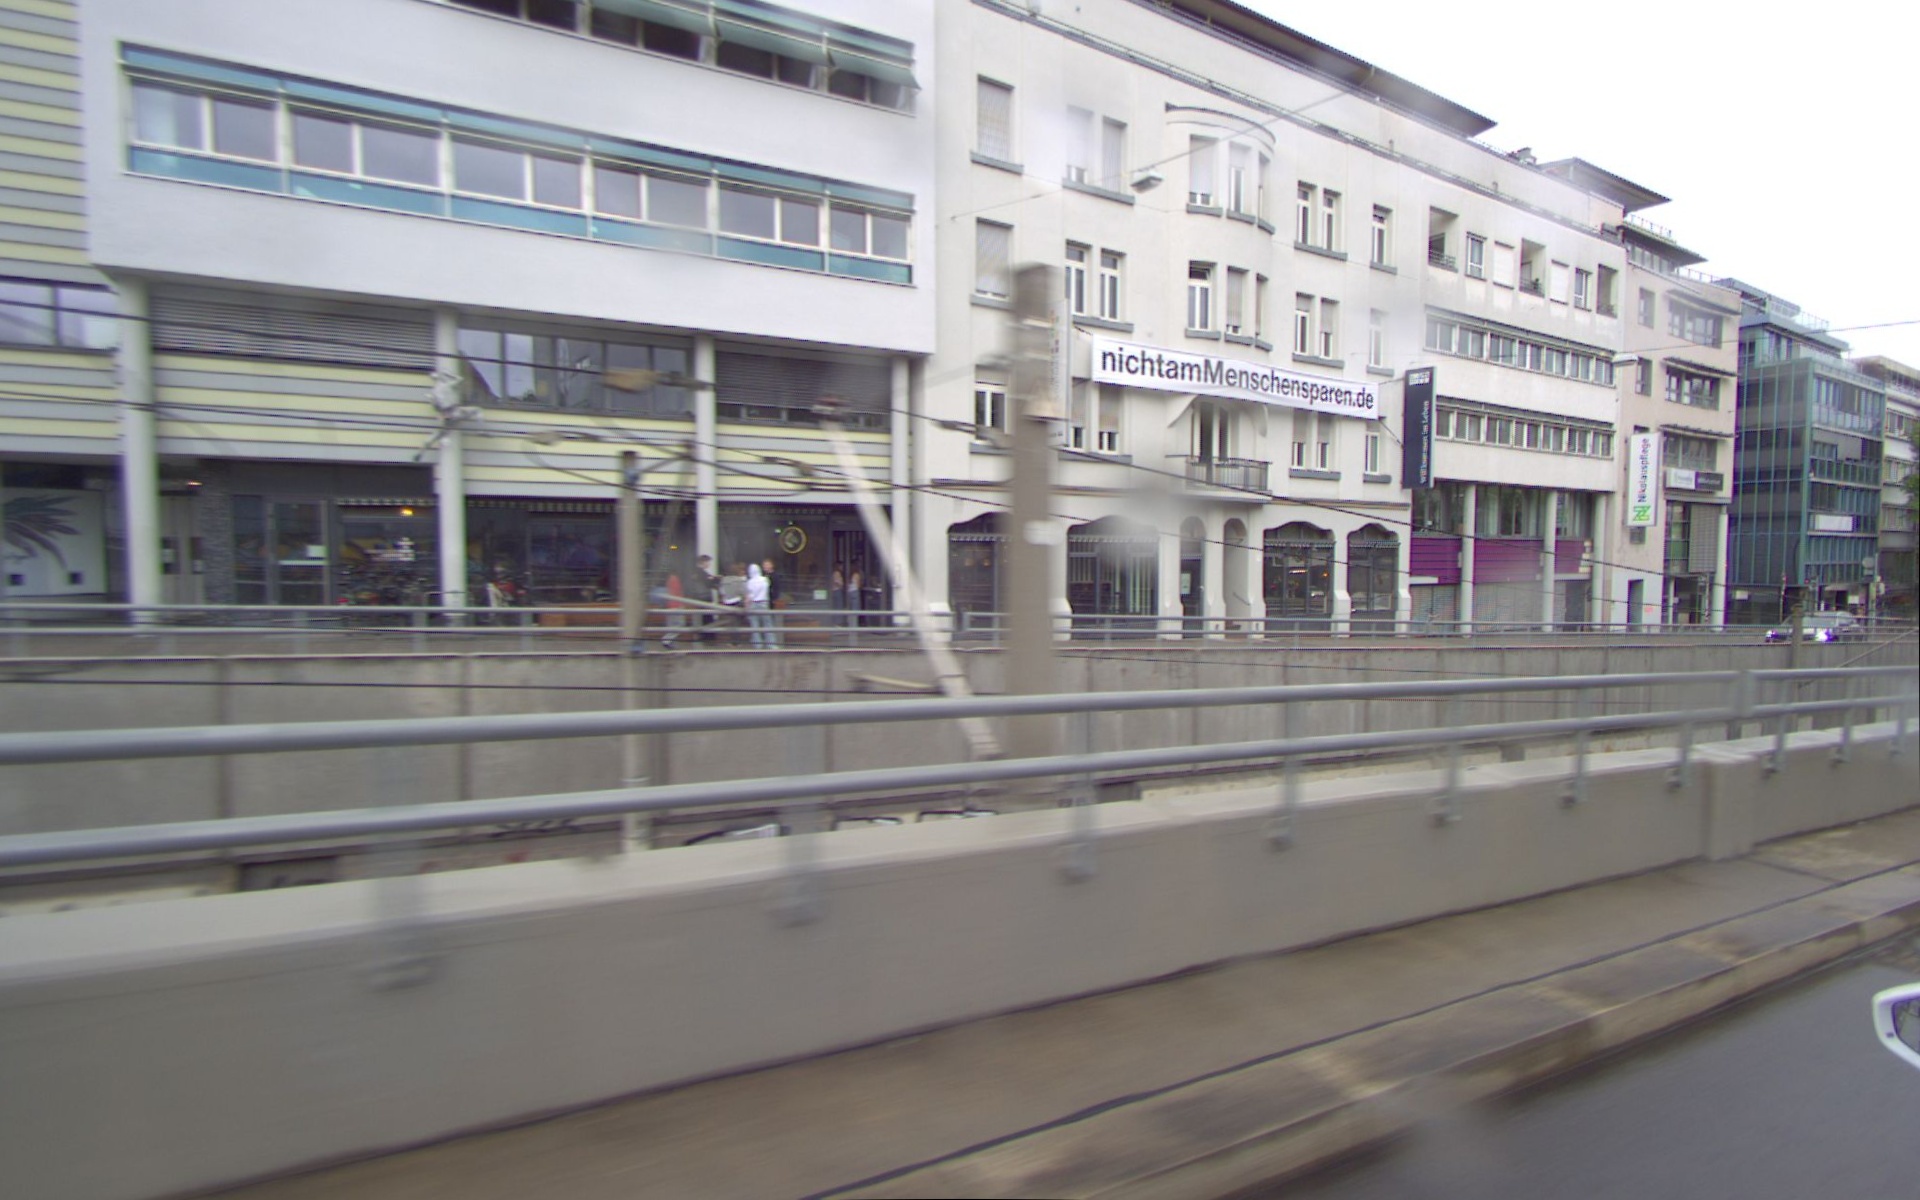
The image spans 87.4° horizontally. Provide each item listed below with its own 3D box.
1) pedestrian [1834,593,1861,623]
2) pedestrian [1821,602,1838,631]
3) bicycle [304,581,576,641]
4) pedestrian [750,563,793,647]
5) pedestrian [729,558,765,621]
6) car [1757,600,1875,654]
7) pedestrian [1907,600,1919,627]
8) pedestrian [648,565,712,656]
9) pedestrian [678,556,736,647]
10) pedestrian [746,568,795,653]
[{"bbox_3d":[58.238,0.510,65.890,0.943,1.893,0.864,1,2,-14],"label":"pedestrian"},{"bbox_3d":[52.951,1.002,61.170,0.483,1.694,0.660,1,2,-34],"label":"pedestrian"},{"bbox_3d":[-9.911,0.230,19.409,4.467,1.057,1.685,1,0,-29],"label":"bicycle"},{"bbox_3d":[-4.006,0.100,21.346,0.660,1.745,0.609,2,2,17],"label":"pedestrian"},{"bbox_3d":[-4.955,-0.238,23.380,0.665,1.438,0.605,0,2,-28],"label":"pedestrian"},{"bbox_3d":[30.000,0.895,35.188,4.526,1.736,1.826,0,2,-32],"label":"car"},{"bbox_3d":[69.158,0.979,72.525,0.858,1.893,0.871,0,3,-36],"label":"pedestrian"},{"bbox_3d":[-5.263,0.182,18.872,0.664,1.638,0.937,3,3,42],"label":"pedestrian"},{"bbox_3d":[-5.191,0.024,20.636,0.664,1.809,0.937,3,3,42],"label":"pedestrian"},{"bbox_3d":[-3.811,0.195,20.223,0.660,1.665,0.795,2,2,14],"label":"pedestrian"}]
